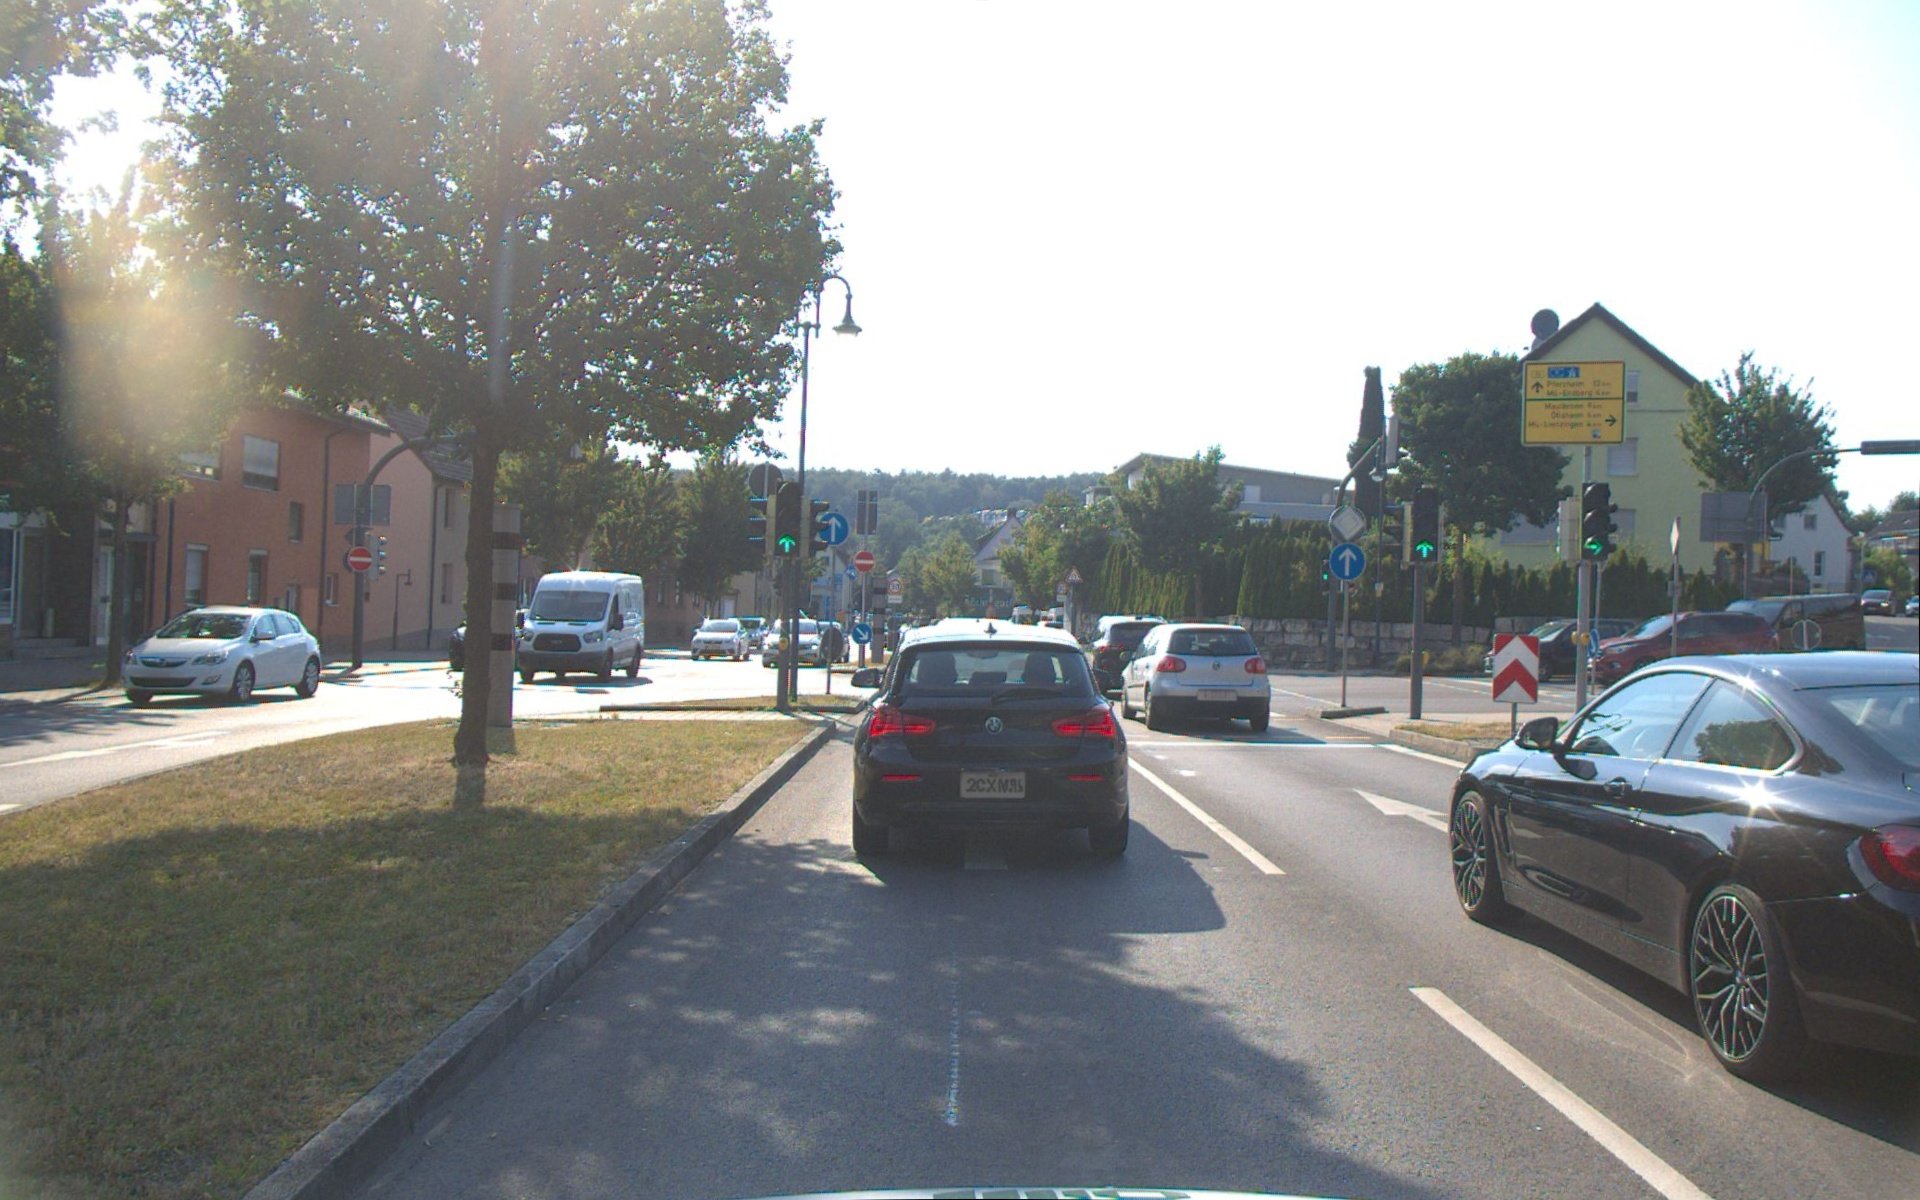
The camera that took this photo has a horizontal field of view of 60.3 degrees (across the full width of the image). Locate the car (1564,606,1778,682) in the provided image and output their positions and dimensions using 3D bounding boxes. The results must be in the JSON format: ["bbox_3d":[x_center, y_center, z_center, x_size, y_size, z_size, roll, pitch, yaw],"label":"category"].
[{"bbox_3d":[16.324,0.993,38.056,4.157,1.654,1.859,1,-1,-7],"label":"car"}]

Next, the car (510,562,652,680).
[{"bbox_3d":[-8.703,0.465,38.538,2.042,2.519,5.478,1,0,-1],"label":"car"}]

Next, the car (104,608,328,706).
[{"bbox_3d":[-11.953,0.865,26.886,1.656,1.439,4.214,1,0,1],"label":"car"}]

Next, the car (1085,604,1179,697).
[{"bbox_3d":[3.495,1.001,34.000,1.570,1.798,3.410,1,0,0],"label":"car"}]

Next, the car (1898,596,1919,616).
[{"bbox_3d":[69.669,0.458,120.865,1.779,1.368,3.989,1,-1,33],"label":"car"}]

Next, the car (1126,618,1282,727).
[{"bbox_3d":[3.490,1.000,24.193,1.718,1.439,3.421,1,0,-1],"label":"car"}]

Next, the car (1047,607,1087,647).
[{"bbox_3d":[7.713,1.906,120.199,2.069,2.769,6.438,1,0,-4],"label":"car"}]

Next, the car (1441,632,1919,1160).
[{"bbox_3d":[3.433,0.860,6.671,1.665,1.393,4.261,0,0,-1],"label":"car"}]

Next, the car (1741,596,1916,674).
[{"bbox_3d":[22.938,0.915,43.625,5.118,1.966,1.976,1,-1,-35],"label":"car"}]

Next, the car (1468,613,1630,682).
[{"bbox_3d":[14.632,1.165,41.252,3.707,1.569,1.599,1,0,18],"label":"car"}]

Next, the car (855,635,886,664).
[{"bbox_3d":[-5.065,2.787,93.489,1.500,1.488,3.506,1,0,1],"label":"car"}]

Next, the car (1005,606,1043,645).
[{"bbox_3d":[4.604,1.835,119.656,2.107,2.727,6.598,1,0,-4],"label":"car"}]

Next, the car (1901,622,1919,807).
[{"bbox_3d":[8.030,0.890,10.979,1.595,1.435,4.281,0,0,7],"label":"car"}]

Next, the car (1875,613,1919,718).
[{"bbox_3d":[15.661,0.994,25.276,3.968,1.520,1.838,1,-1,-43],"label":"car"}]

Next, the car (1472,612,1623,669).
[{"bbox_3d":[16.029,1.097,45.186,3.527,1.475,1.625,-1,-2,-5],"label":"car"}]

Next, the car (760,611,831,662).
[{"bbox_3d":[-5.164,1.120,52.421,1.797,1.514,4.565,1,0,-1],"label":"car"}]

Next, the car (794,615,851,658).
[{"bbox_3d":[-4.791,1.282,57.901,1.556,1.452,3.578,1,-1,2],"label":"car"}]

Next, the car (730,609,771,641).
[{"bbox_3d":[-11.135,1.344,88.116,1.651,1.640,4.412,1,-1,-1],"label":"car"}]

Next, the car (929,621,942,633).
[{"bbox_3d":[-3.157,3.464,214.426,1.565,1.511,3.472,2,-1,-3],"label":"car"}]

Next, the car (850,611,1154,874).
[{"bbox_3d":[0.221,0.839,11.355,1.735,1.482,3.515,1,0,-1],"label":"car"}]

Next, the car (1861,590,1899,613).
[{"bbox_3d":[56.299,0.107,101.161,1.779,1.368,3.989,1,-1,33],"label":"car"}]

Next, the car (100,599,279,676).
[{"bbox_3d":[-15.736,0.738,34.007,1.759,1.439,3.941,1,0,1],"label":"car"}]

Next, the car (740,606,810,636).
[{"bbox_3d":[-16.717,1.904,149.419,6.035,2.487,2.248,2,-1,-2],"label":"car"}]

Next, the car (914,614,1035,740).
[{"bbox_3d":[0.164,1.030,23.681,1.559,1.628,3.892,1,0,-1],"label":"car"}]

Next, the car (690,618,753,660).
[{"bbox_3d":[-8.640,1.405,60.179,1.721,1.436,3.999,1,0,-1],"label":"car"}]
